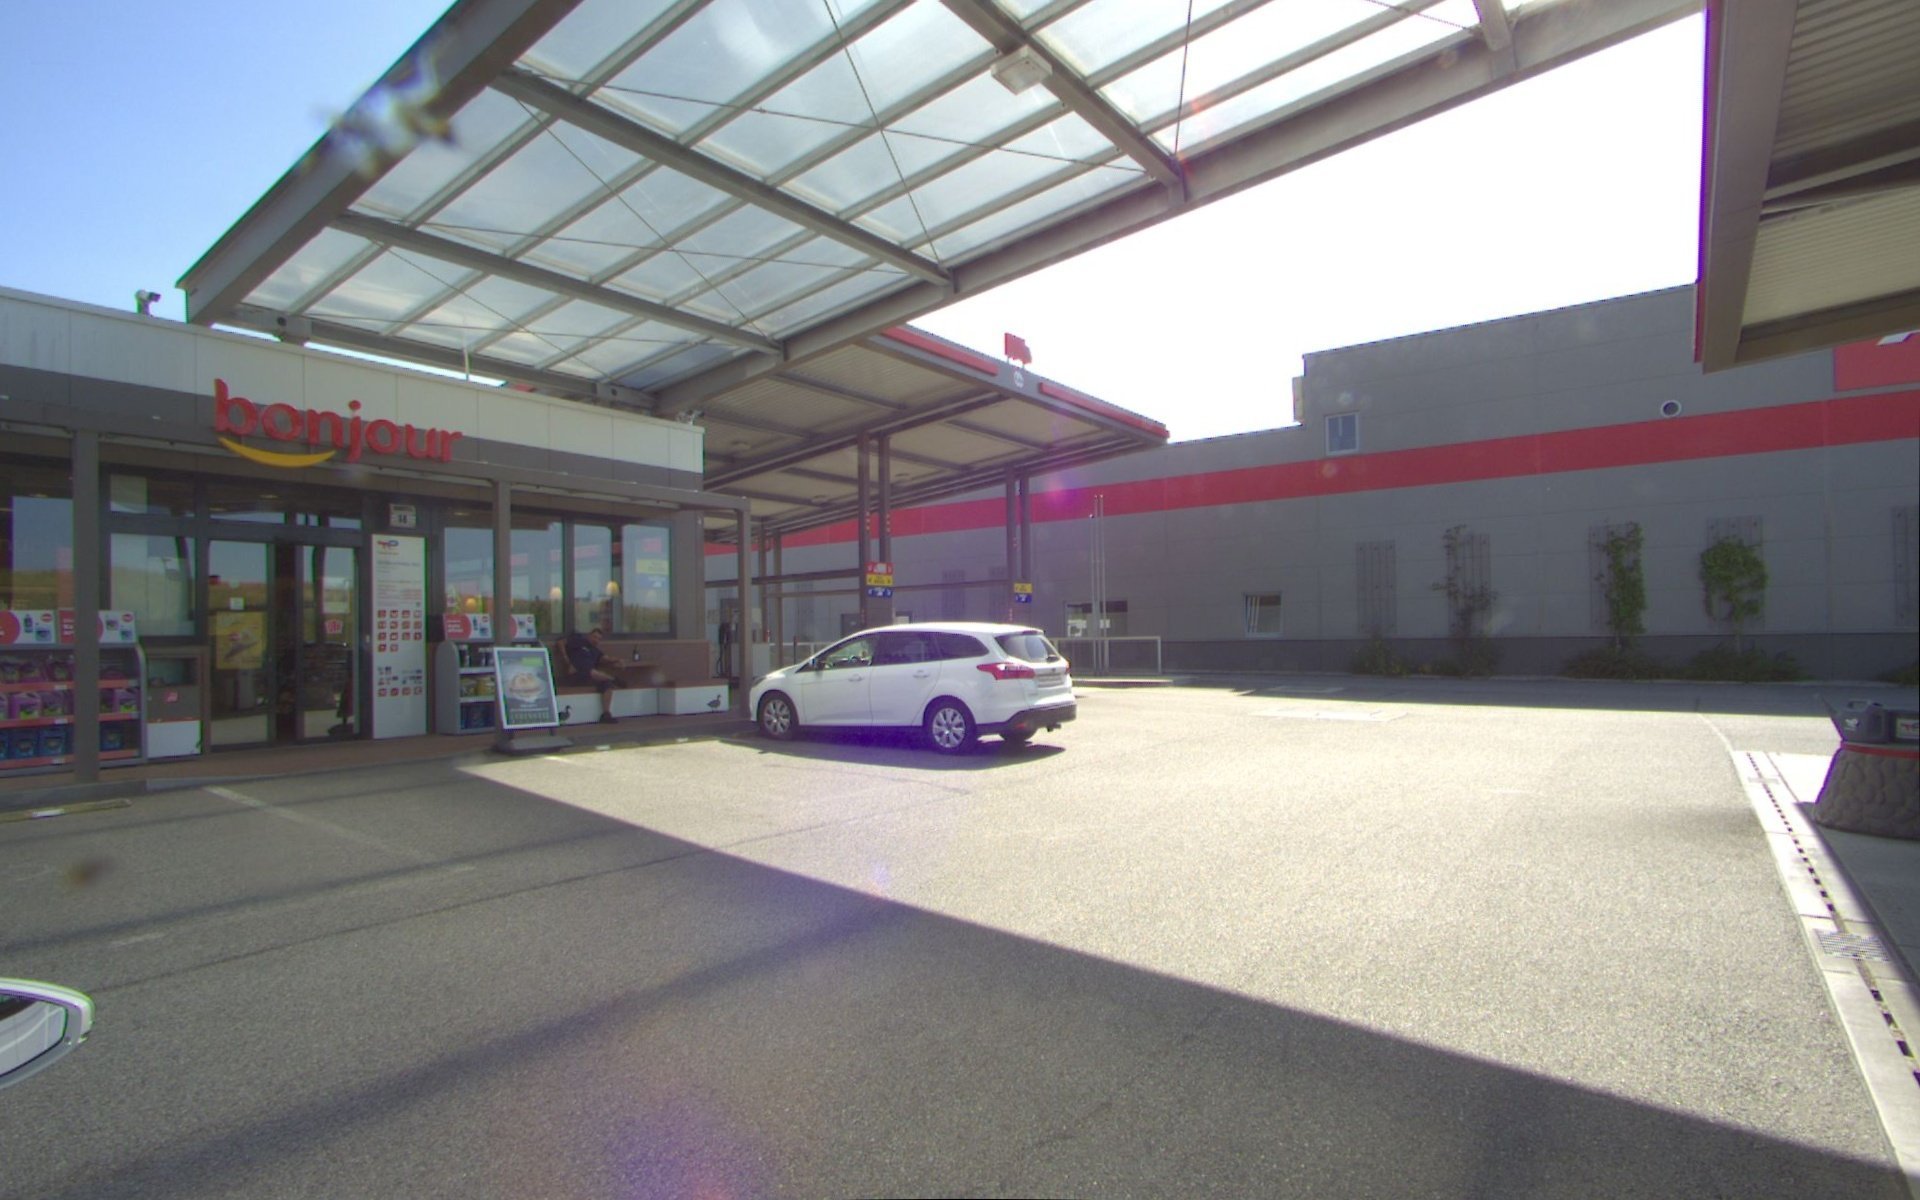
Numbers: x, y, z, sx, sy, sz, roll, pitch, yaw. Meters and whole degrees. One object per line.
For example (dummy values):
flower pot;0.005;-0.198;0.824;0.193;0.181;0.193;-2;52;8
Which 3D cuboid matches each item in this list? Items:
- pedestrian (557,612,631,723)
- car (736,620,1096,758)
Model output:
pedestrian;-4.957;0.900;13.587;0.664;1.450;0.699;-1;-1;35
car;-0.605;1.009;12.633;4.257;1.475;1.827;-1;-1;31
